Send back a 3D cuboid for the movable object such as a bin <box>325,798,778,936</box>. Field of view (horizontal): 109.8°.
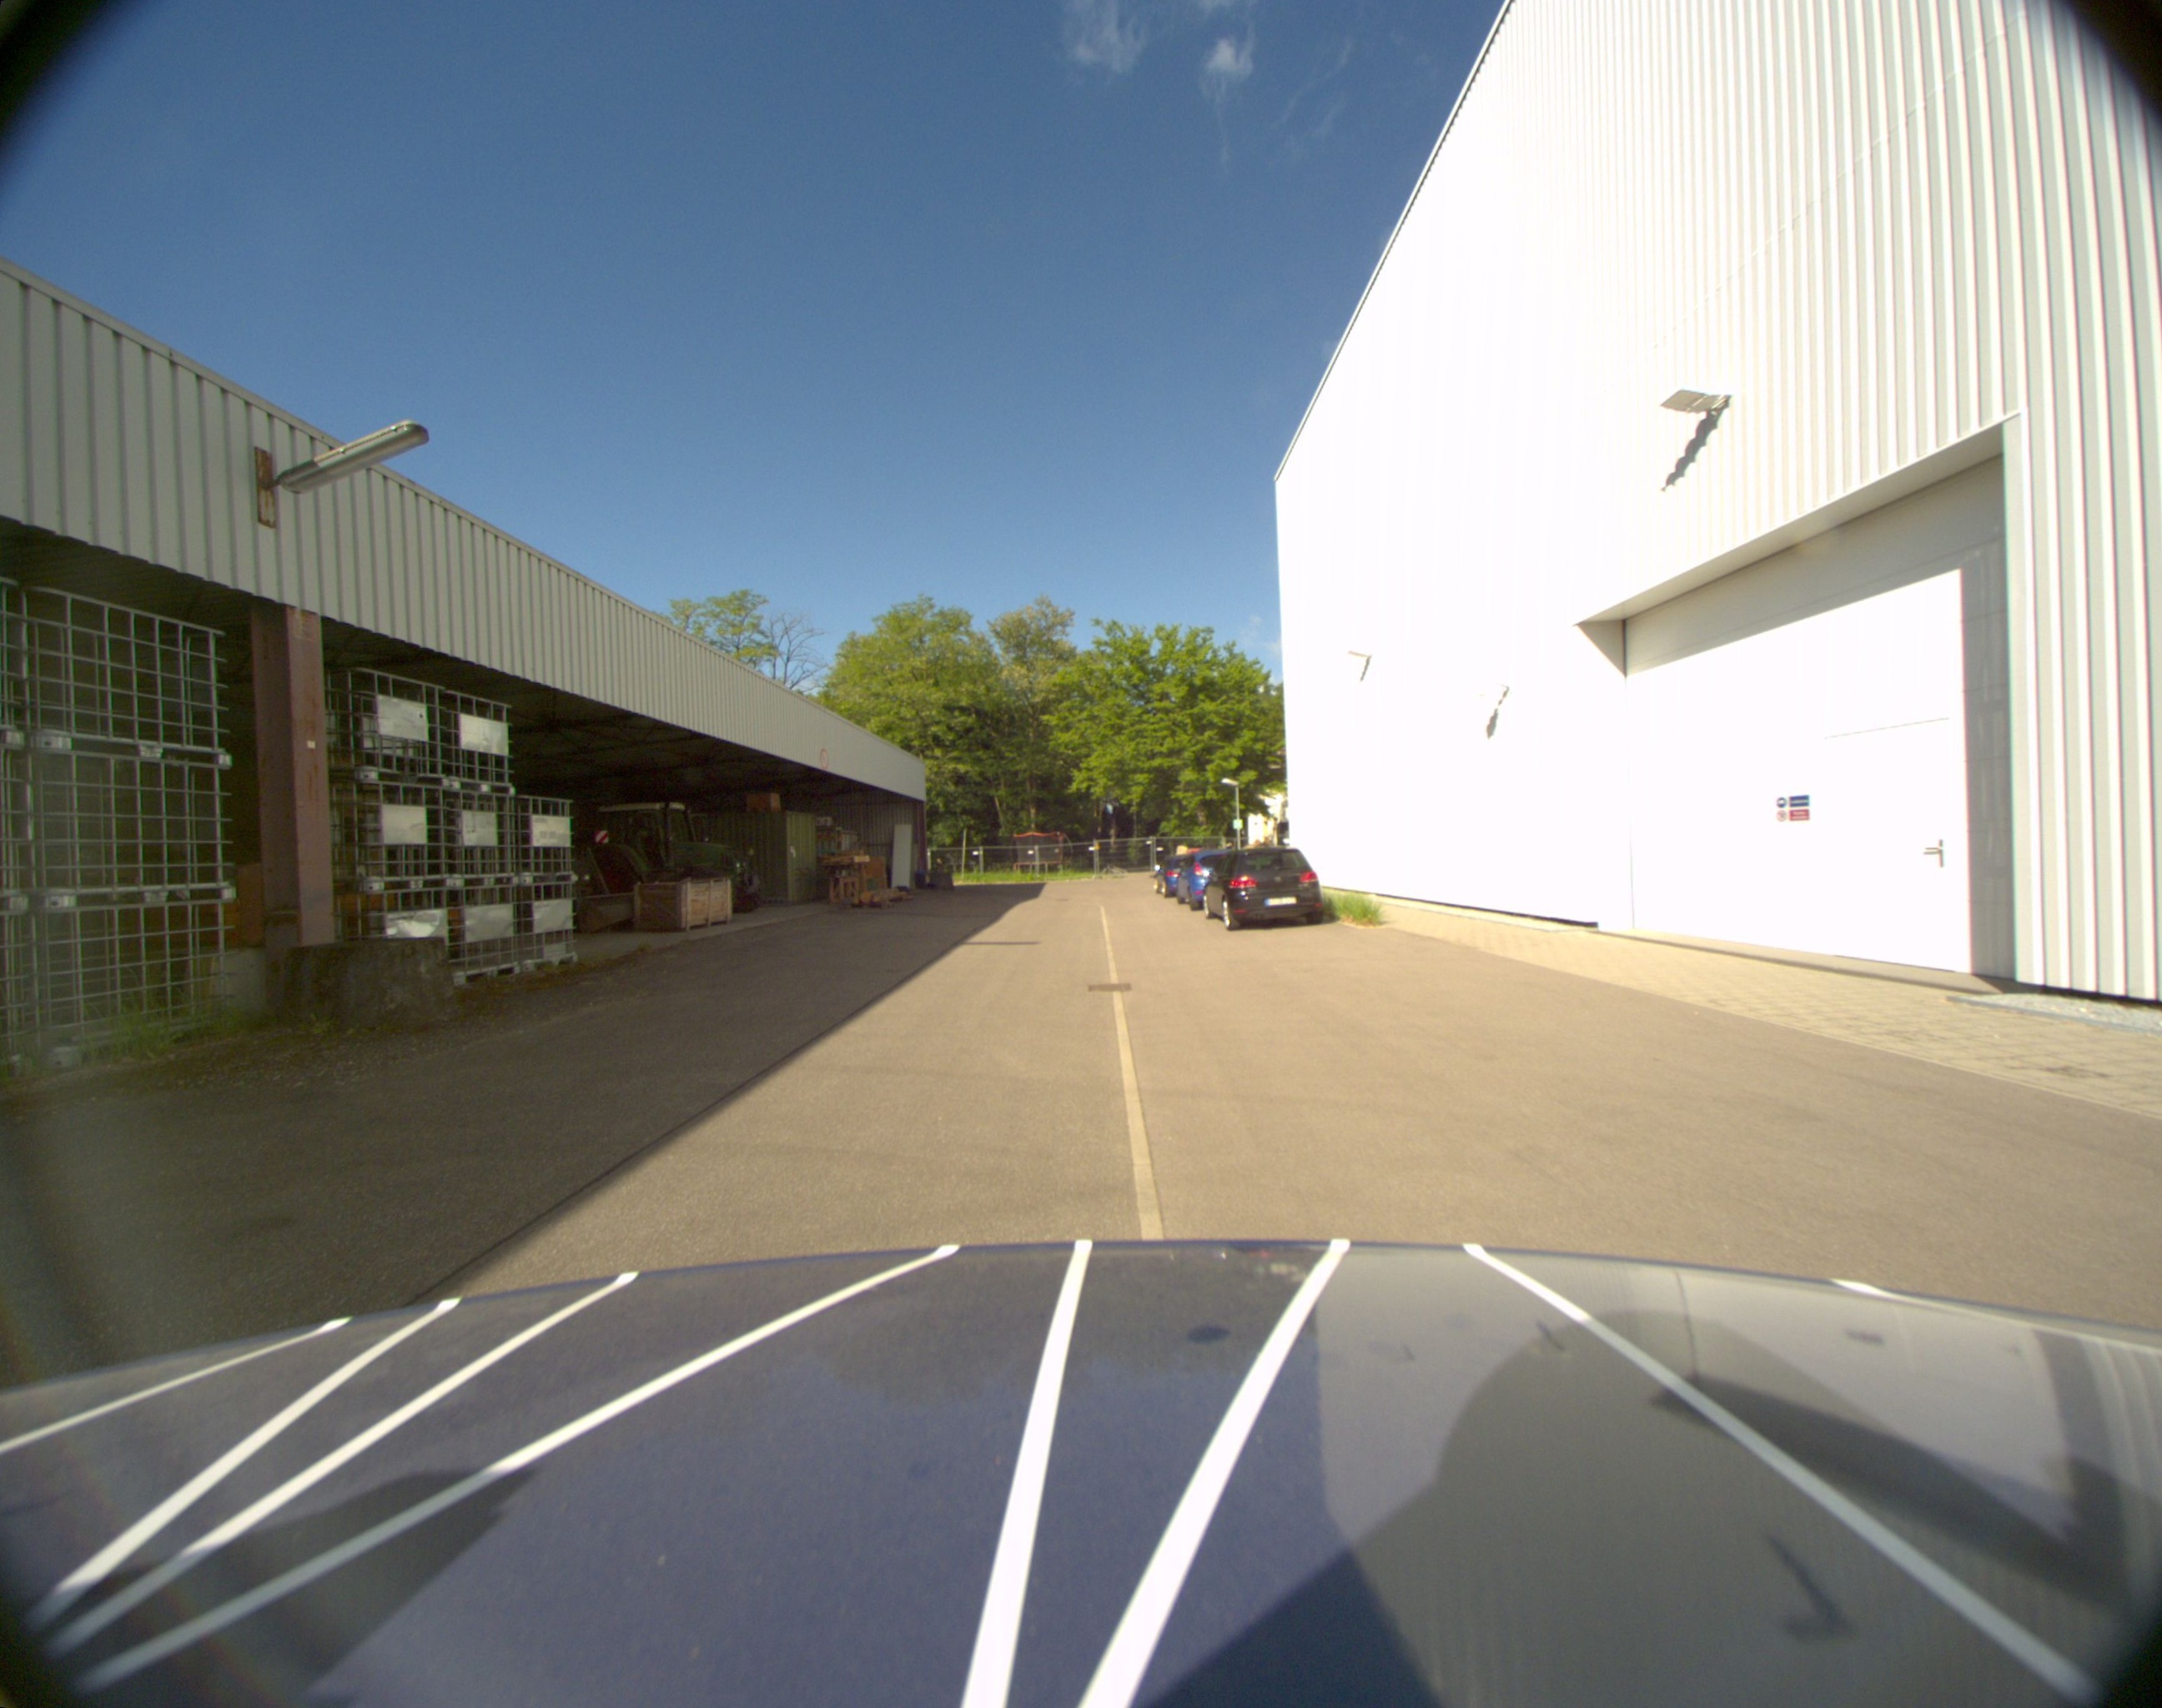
[{"bbox_3d":[-12.989,0.300,19.269,9.214,2.893,3.212,-2,1,2],"label":"movable object such as a bin"}]

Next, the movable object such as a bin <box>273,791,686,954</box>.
[{"bbox_3d":[-12.229,0.361,15.953,6.200,2.893,3.016,-2,1,2],"label":"movable object such as a bin"}]

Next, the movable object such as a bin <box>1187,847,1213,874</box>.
[{"bbox_3d":[6.623,0.343,42.325,1.093,1.431,1.230,-4,2,-5],"label":"movable object such as a bin"}]

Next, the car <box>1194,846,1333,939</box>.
[{"bbox_3d":[3.459,0.651,15.200,1.759,1.491,4.294,-4,0,1],"label":"car"}]

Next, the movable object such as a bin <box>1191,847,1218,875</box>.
[{"bbox_3d":[6.646,0.386,40.992,1.093,1.424,1.230,-4,2,-5],"label":"movable object such as a bin"}]

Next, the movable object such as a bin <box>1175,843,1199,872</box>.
[{"bbox_3d":[6.167,0.203,44.225,1.093,1.588,1.230,-3,3,-5],"label":"movable object such as a bin"}]

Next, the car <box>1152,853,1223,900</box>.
[{"bbox_3d":[3.473,0.690,25.545,1.778,1.353,4.053,-3,0,0],"label":"car"}]

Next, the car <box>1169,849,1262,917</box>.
[{"bbox_3d":[3.435,0.668,20.097,1.635,1.491,4.094,-5,0,0],"label":"car"}]
